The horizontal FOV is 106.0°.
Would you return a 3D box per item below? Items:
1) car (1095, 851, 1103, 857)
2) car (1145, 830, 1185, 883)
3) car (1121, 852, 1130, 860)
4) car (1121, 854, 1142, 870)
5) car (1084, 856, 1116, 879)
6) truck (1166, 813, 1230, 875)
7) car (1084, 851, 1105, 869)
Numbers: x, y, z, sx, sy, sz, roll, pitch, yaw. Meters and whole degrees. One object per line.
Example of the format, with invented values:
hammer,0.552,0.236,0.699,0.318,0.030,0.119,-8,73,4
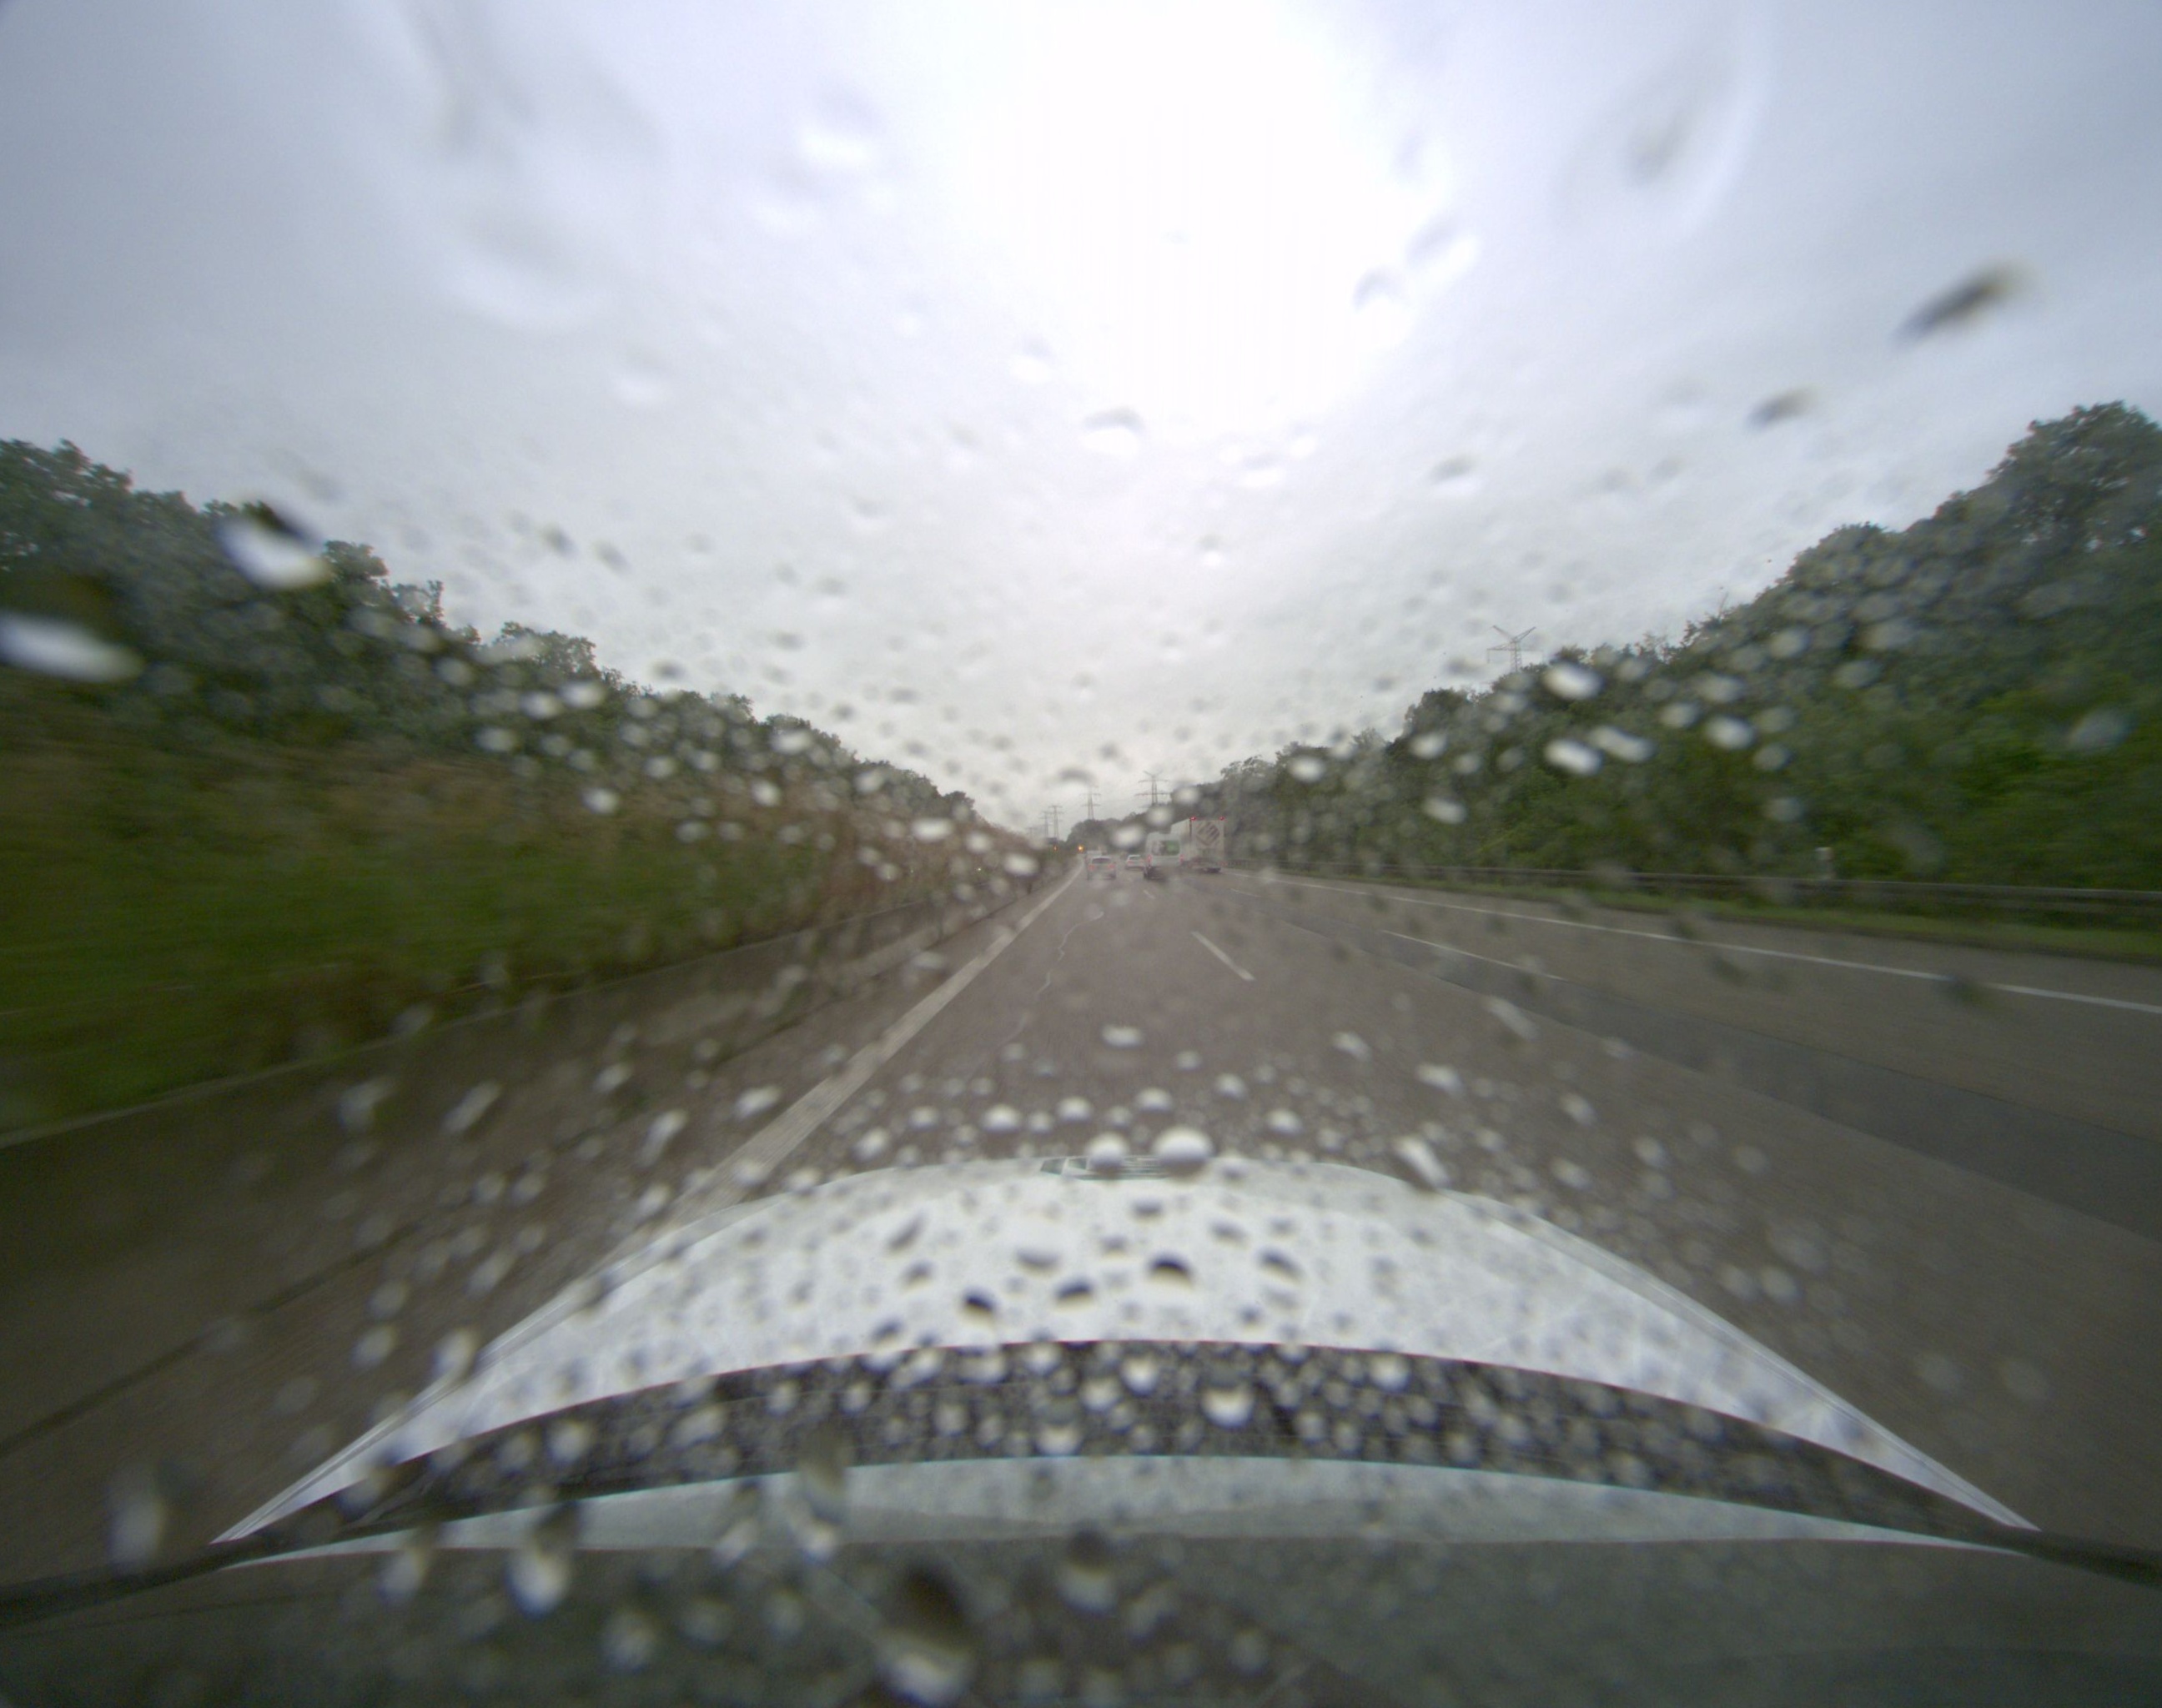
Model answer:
car,4.911,0.020,220.524,1.985,1.574,4.003,-3,-1,3
car,4.856,0.137,47.593,1.985,2.864,4.003,-2,0,3
car,9.491,0.365,173.432,1.985,1.486,4.003,-4,-1,3
car,4.611,0.717,74.028,1.848,1.422,4.005,-1,0,4
car,1.216,0.793,50.974,1.859,1.288,4.002,-3,0,2
truck,9.069,-0.665,64.921,3.589,4.332,13.206,-2,-1,2
car,1.408,0.589,81.840,1.838,1.772,4.004,-3,0,3
